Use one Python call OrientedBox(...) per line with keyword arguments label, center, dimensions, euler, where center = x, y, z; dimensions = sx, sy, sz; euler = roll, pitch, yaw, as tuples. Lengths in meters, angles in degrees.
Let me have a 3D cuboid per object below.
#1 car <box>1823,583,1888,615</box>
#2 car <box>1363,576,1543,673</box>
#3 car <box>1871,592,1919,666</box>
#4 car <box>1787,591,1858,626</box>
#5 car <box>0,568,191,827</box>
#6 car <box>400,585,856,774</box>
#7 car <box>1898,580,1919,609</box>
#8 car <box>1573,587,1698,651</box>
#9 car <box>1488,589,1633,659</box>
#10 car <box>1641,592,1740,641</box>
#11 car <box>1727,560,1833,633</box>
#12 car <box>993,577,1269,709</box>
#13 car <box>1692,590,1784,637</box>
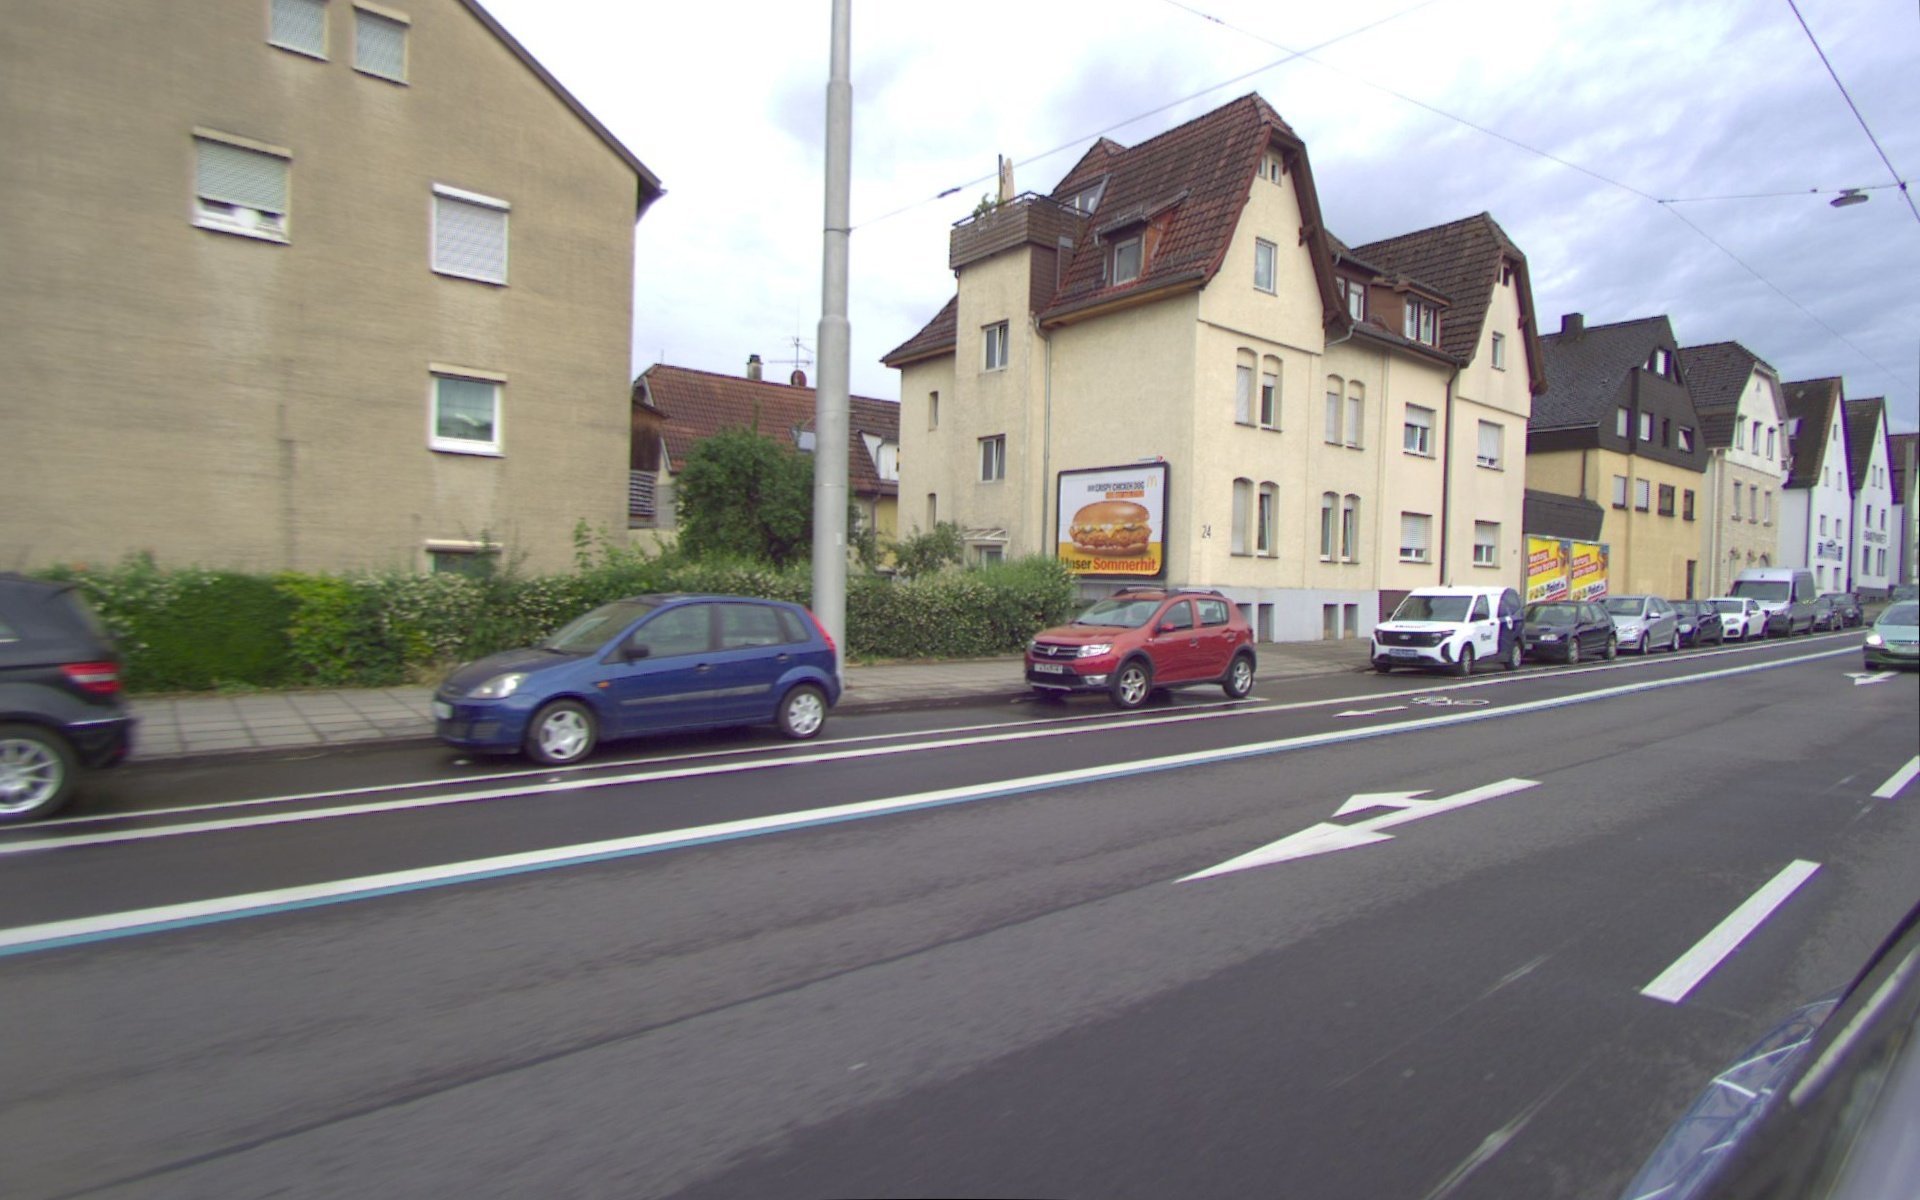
OrientedBox(label="car", center=(40.608, -0.089, 45.857), dimensions=(4.128, 1.362, 1.725), euler=(-1, 1, -41))
OrientedBox(label="car", center=(10.225, 0.442, 20.834), dimensions=(4.445, 1.779, 1.849), euler=(0, 0, -42))
OrientedBox(label="car", center=(21.219, 0.580, 21.837), dimensions=(4.128, 1.467, 1.886), euler=(-1, 1, -41))
OrientedBox(label="car", center=(35.805, 0.316, 41.981), dimensions=(4.014, 1.362, 1.725), euler=(-1, 1, -41))
OrientedBox(label="car", center=(-7.307, 0.568, 5.911), dimensions=(4.362, 1.553, 1.839), euler=(1, 0, -41))
OrientedBox(label="car", center=(-3.058, 0.607, 9.787), dimensions=(3.862, 1.462, 1.669), euler=(0, 0, -42))
OrientedBox(label="car", center=(54.751, -0.334, 57.347), dimensions=(4.125, 1.567, 1.726), euler=(-1, 1, -38))
OrientedBox(label="car", center=(18.493, 0.469, 27.659), dimensions=(4.206, 1.586, 1.705), euler=(-1, 1, -39))
OrientedBox(label="car", center=(14.330, 0.512, 24.070), dimensions=(4.063, 1.531, 1.690), euler=(0, 0, -39))
OrientedBox(label="car", center=(22.579, 0.470, 31.234), dimensions=(3.724, 1.419, 1.604), euler=(0, 0, -39))
OrientedBox(label="car", center=(30.619, -0.162, 37.718), dimensions=(5.817, 2.530, 2.043), euler=(-1, 1, -40))
OrientedBox(label="car", center=(2.574, 0.525, 14.713), dimensions=(4.028, 1.648, 1.840), euler=(0, 0, -41))
OrientedBox(label="car", center=(26.293, 0.422, 34.166), dimensions=(4.126, 1.483, 1.604), euler=(-1, 0, -39))
